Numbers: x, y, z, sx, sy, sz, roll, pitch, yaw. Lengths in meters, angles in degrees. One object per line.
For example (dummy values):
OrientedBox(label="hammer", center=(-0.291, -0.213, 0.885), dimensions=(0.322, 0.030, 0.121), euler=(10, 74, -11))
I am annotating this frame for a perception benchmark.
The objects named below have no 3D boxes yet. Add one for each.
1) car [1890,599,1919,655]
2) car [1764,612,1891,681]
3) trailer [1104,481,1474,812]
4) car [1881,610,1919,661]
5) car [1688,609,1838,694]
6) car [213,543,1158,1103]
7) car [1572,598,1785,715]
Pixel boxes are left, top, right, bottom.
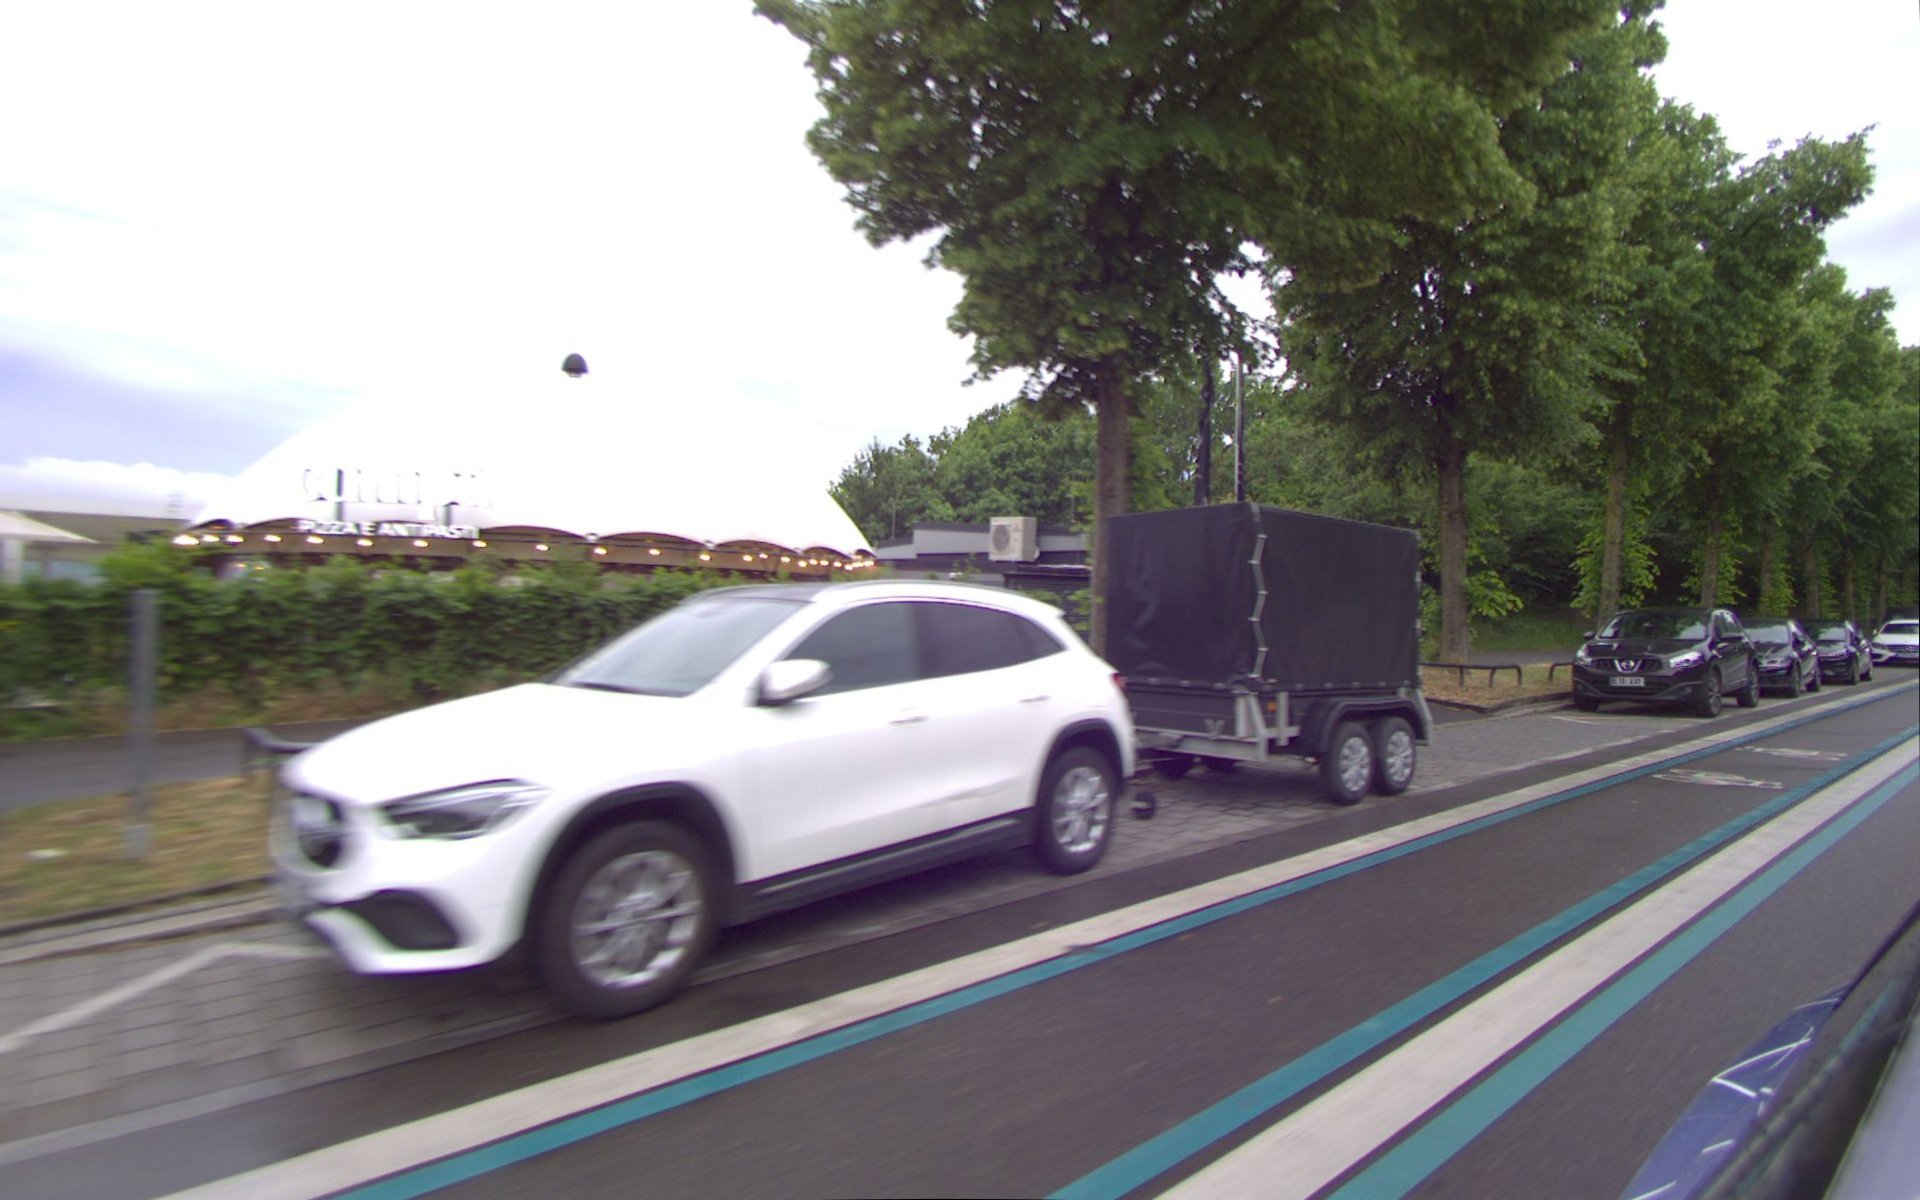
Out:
OrientedBox(label="car", center=(34.501, 0.937, 35.797), dimensions=(4.534, 1.900, 1.845), euler=(1, -1, -41))
OrientedBox(label="car", center=(19.936, 1.000, 23.197), dimensions=(4.013, 1.400, 1.687), euler=(0, -1, -42))
OrientedBox(label="trailer", center=(2.927, 0.329, 8.687), dimensions=(3.500, 2.298, 1.349), euler=(0, -1, -40))
OrientedBox(label="car", center=(30.619, 1.096, 31.934), dimensions=(4.216, 1.505, 1.822), euler=(0, 0, -41))
OrientedBox(label="car", center=(15.428, 0.900, 19.375), dimensions=(3.932, 1.444, 1.691), euler=(0, 0, -43))
OrientedBox(label="car", center=(-0.926, 0.640, 5.104), dimensions=(1.755, 1.605, 4.345), euler=(0, 0, 43))
OrientedBox(label="car", center=(11.296, 0.792, 15.807), dimensions=(4.263, 1.592, 1.692), euler=(0, -2, -41))
